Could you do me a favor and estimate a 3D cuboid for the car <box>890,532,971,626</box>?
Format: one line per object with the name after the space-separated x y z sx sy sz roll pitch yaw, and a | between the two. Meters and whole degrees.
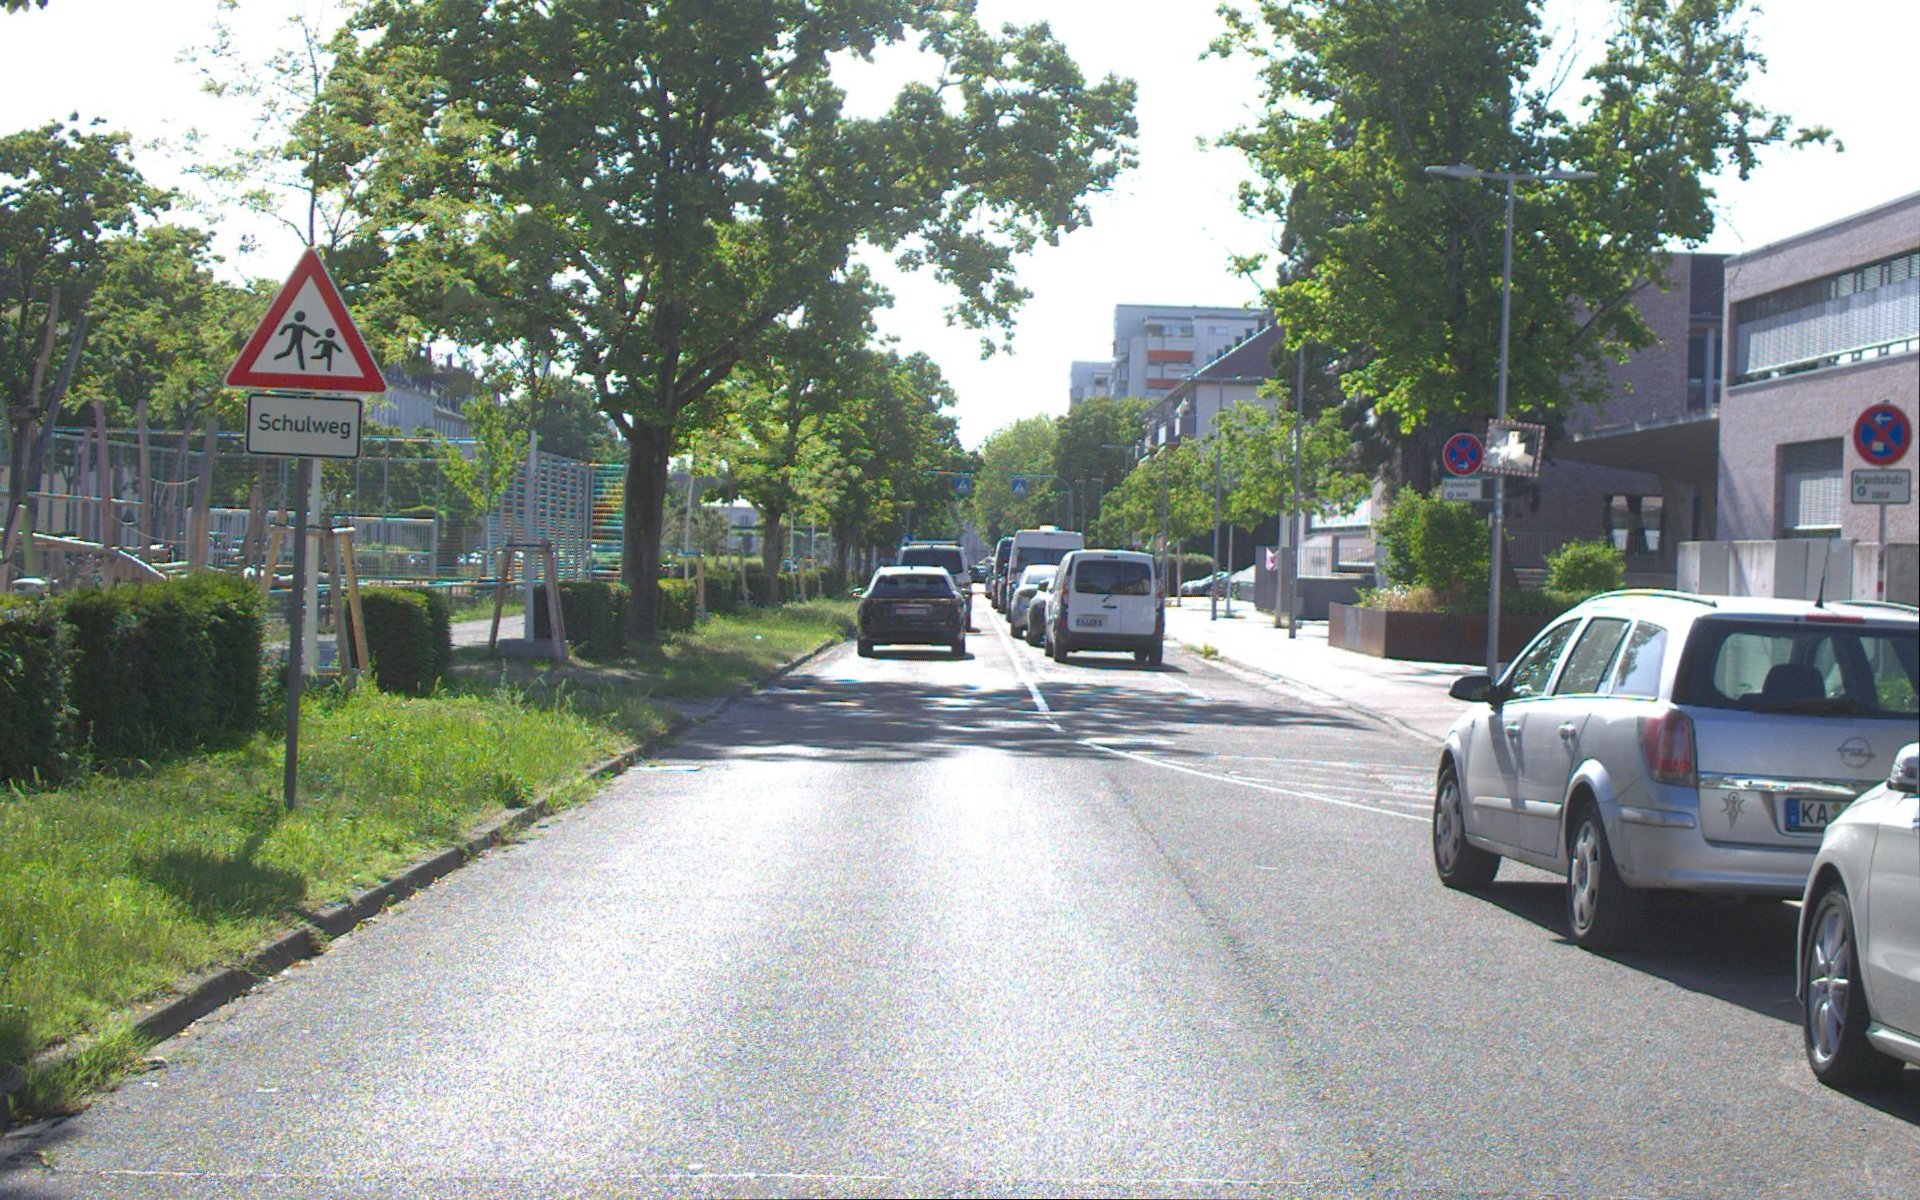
-0.669 -0.501 81.265 1.794 2.115 4.000 2 1 1 | car

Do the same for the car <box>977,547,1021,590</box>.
1.775 -1.429 156.156 1.794 1.849 4.413 2 1 2 | car

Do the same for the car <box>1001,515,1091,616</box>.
2.308 -0.940 93.727 2.241 2.566 5.432 2 1 0 | car

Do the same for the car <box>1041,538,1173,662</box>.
2.385 -0.033 56.749 1.808 1.902 4.462 2 1 -1 | car

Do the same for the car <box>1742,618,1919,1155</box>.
3.523 0.841 9.209 1.794 1.416 4.288 3 1 0 | car

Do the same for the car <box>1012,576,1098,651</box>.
2.000 0.261 73.397 1.701 1.473 4.173 2 1 0 | car

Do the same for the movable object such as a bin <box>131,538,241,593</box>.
-17.826 -0.797 79.246 2.330 1.238 1.056 1 1 -4 | movable object such as a bin

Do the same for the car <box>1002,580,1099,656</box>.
1.729 0.326 66.493 1.701 1.321 4.129 2 1 0 | car

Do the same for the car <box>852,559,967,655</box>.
-0.823 0.097 57.743 1.794 1.505 4.000 2 1 1 | car

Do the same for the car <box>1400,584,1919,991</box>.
3.274 0.728 15.429 1.659 1.460 4.412 3 1 -4 | car

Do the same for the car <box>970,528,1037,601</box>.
1.524 -1.275 123.566 2.115 2.507 6.532 1 1 -1 | car

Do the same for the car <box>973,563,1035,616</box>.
1.397 -0.344 111.064 1.846 1.634 4.504 1 1 -1 | car

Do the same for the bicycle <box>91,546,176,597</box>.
-18.763 -0.645 78.050 1.794 1.104 0.500 2 1 -1 | bicycle
